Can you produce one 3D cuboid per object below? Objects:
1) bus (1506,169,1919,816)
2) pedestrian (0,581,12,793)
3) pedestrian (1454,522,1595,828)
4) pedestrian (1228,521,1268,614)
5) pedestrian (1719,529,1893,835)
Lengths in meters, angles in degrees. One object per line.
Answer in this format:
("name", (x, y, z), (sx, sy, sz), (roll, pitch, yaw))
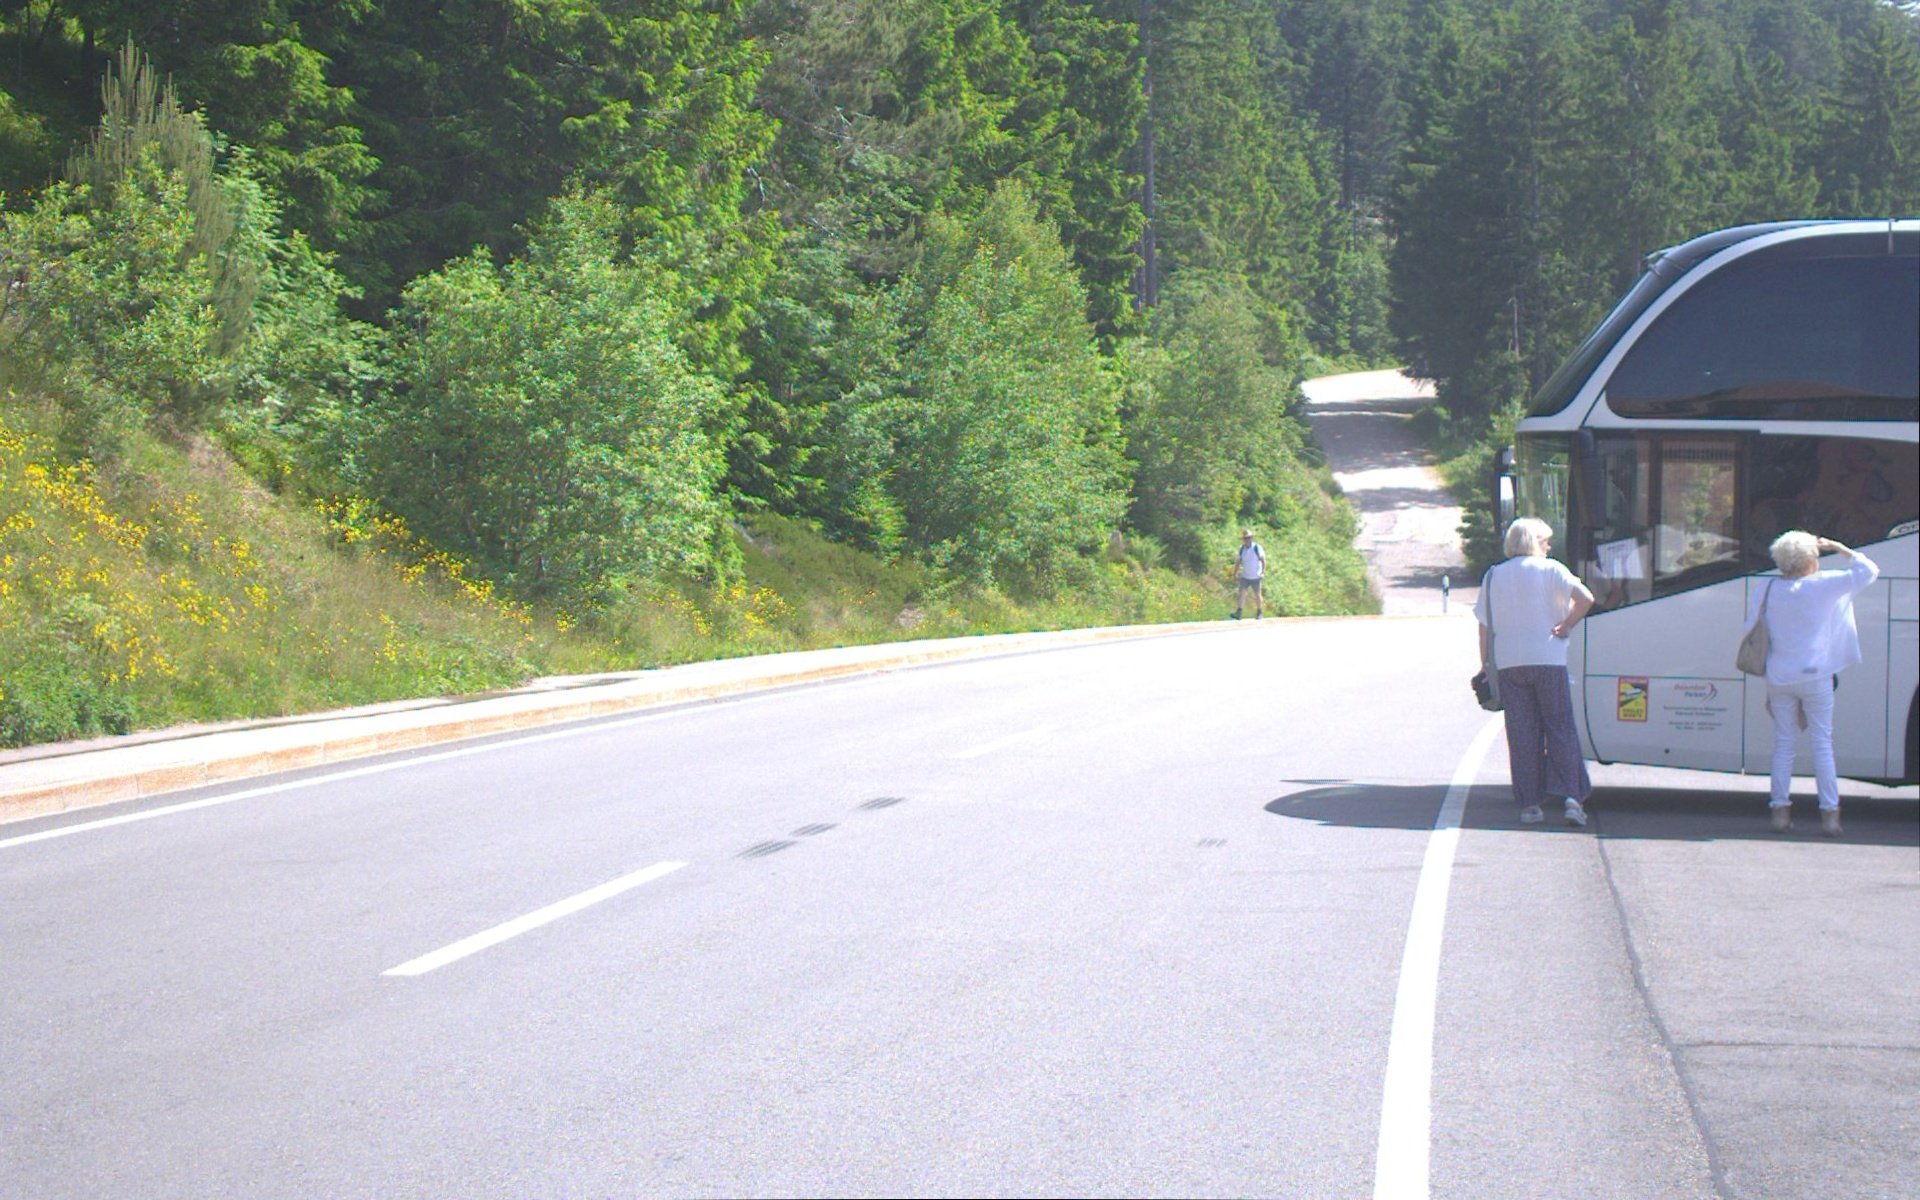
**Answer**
("bus", (9.692, -0.553, 19.226), (12.855, 3.565, 2.837), (1, 1, 15))
("pedestrian", (-5.321, 0.462, 17.700), (0.569, 1.098, 0.744), (0, 1, 10))
("pedestrian", (3.080, 0.396, 18.803), (0.707, 1.637, 0.745), (0, 1, 5))
("pedestrian", (5.466, -0.626, 65.211), (0.682, 1.740, 0.825), (1, 1, 8))
("pedestrian", (4.529, 0.419, 18.394), (0.645, 1.590, 0.743), (1, 2, 40))
